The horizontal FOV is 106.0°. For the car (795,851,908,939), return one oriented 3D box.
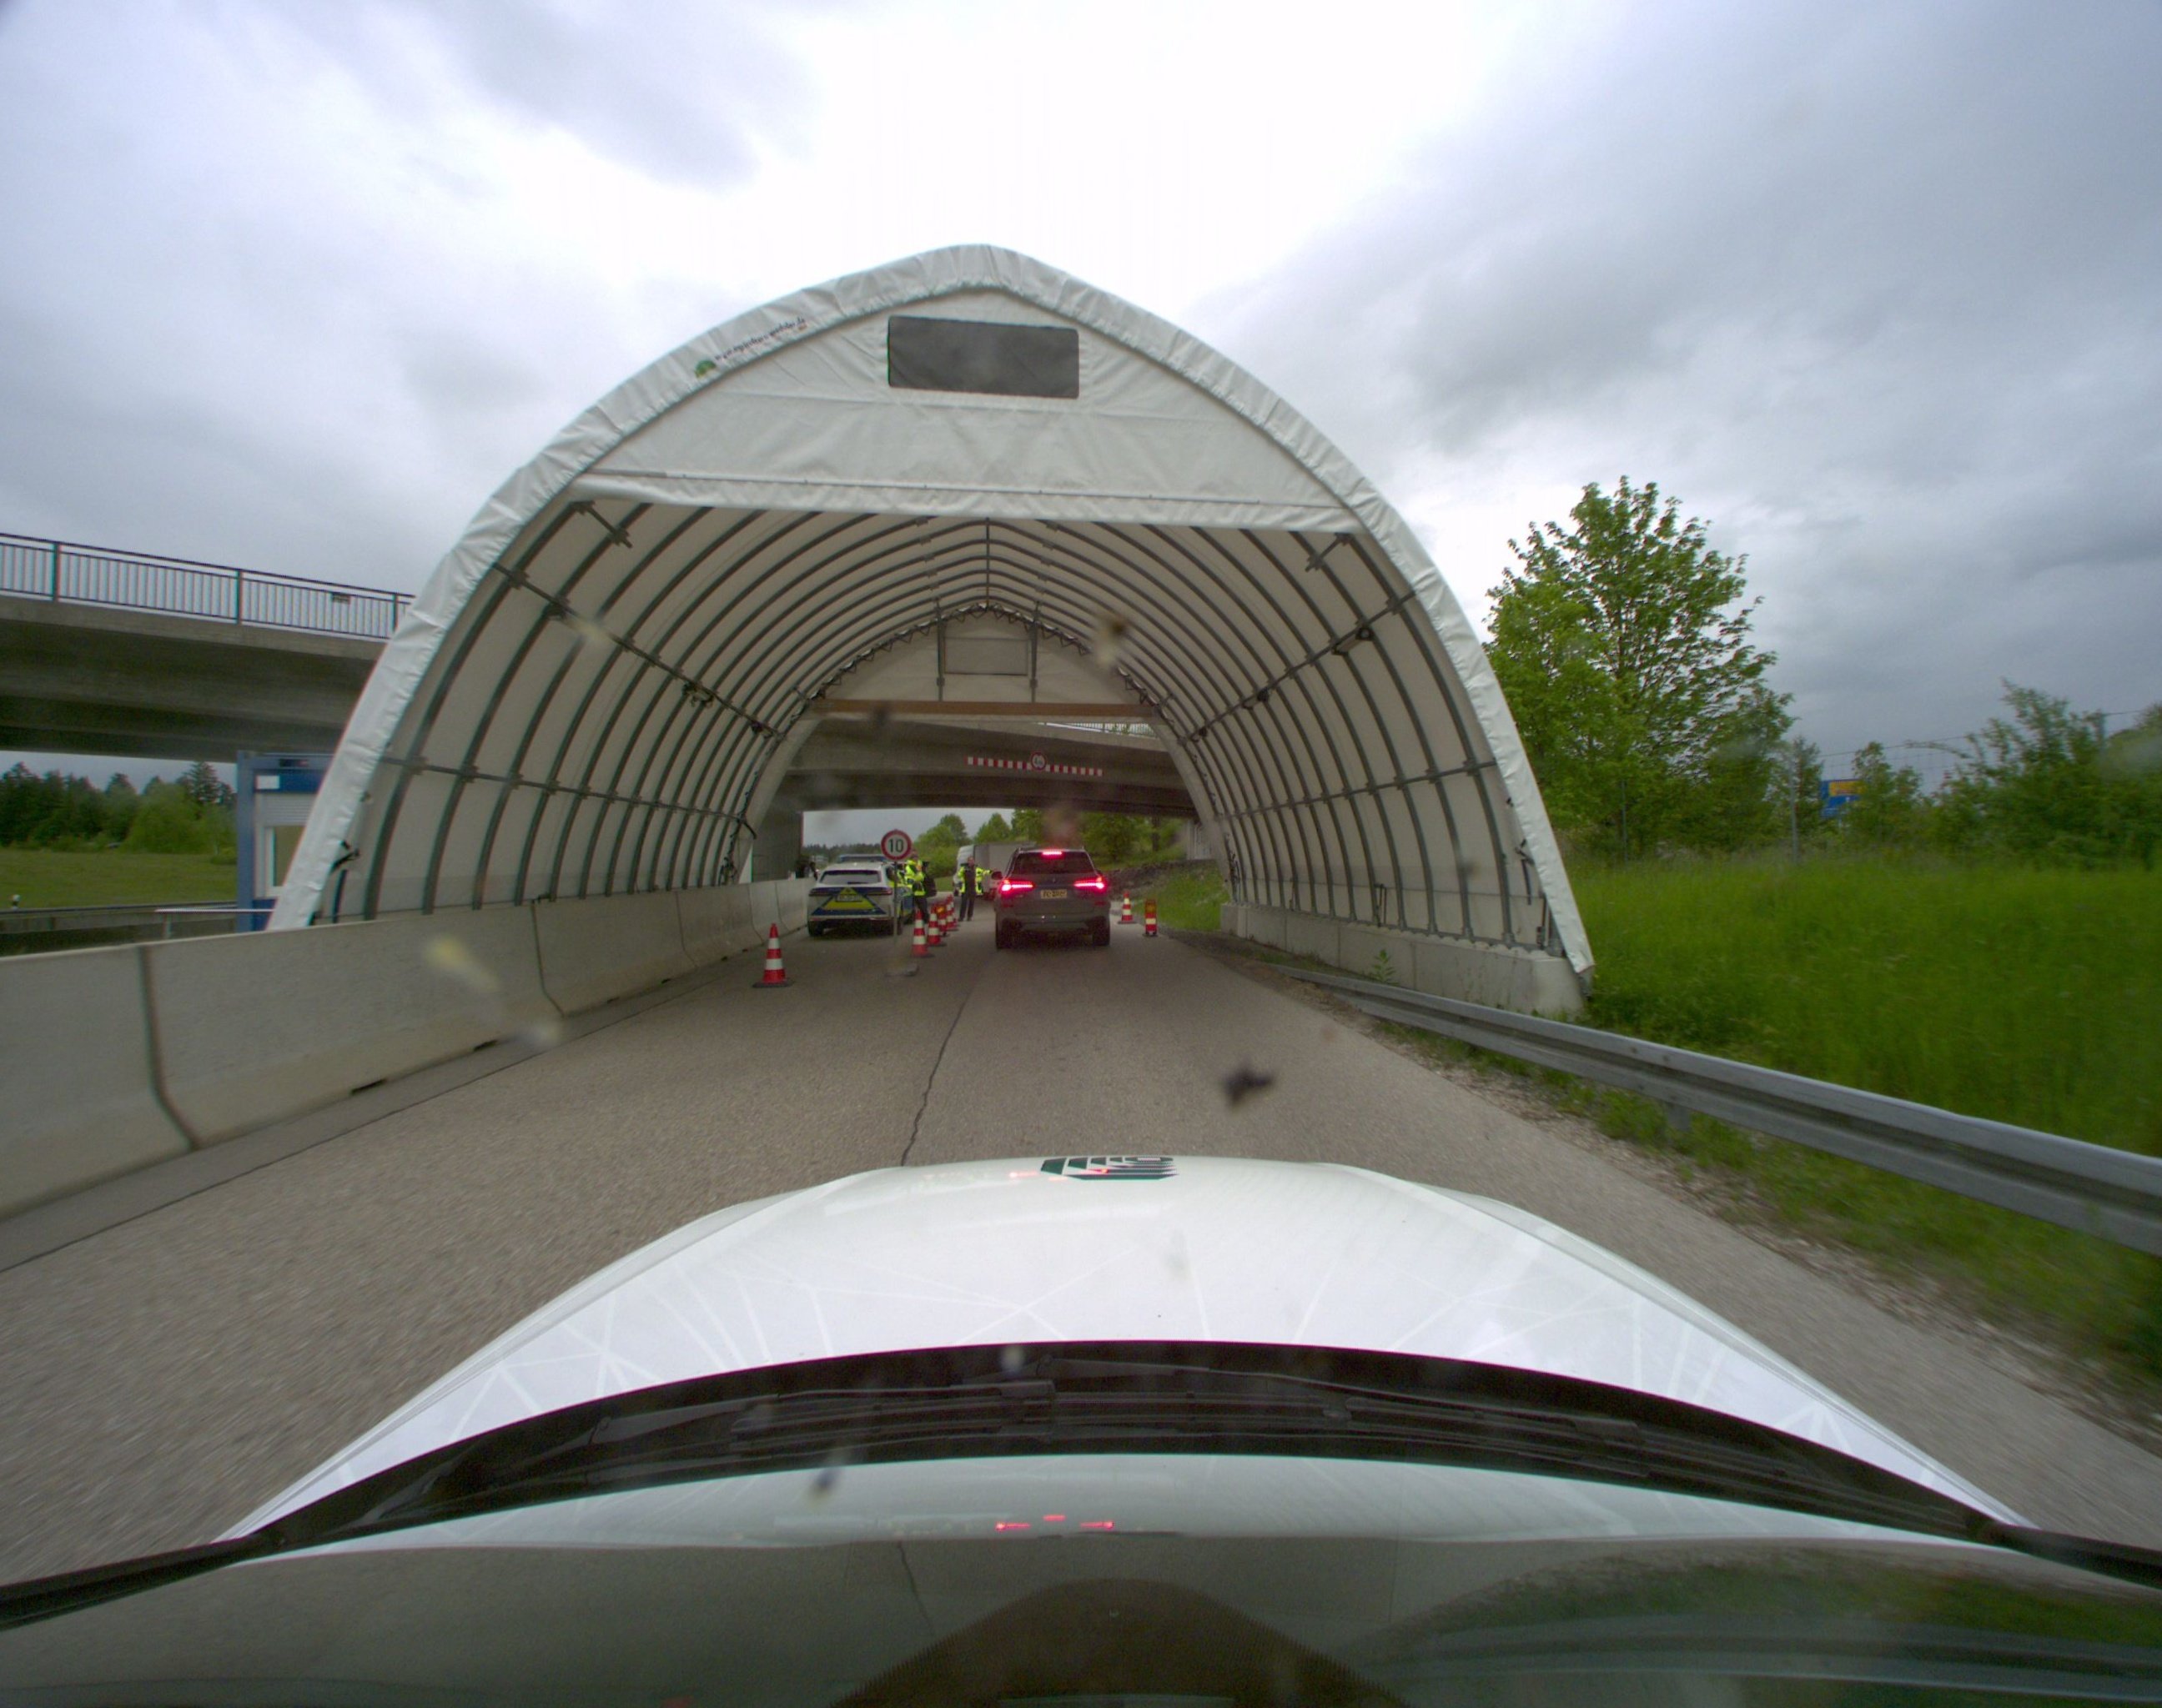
[{"bbox_3d":[-4.893,0.828,17.883,1.877,1.647,3.987,-2,-1,-9],"label":"car"}]

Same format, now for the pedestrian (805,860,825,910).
[{"bbox_3d":[-10.934,1.260,33.488,0.624,2.014,0.653,-1,-1,-11],"label":"pedestrian"}]

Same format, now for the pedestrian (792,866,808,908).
[{"bbox_3d":[-10.715,1.257,31.083,0.503,1.546,0.460,-1,-1,-15],"label":"pedestrian"}]

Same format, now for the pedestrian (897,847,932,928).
[{"bbox_3d":[-4.085,0.809,20.015,0.749,1.919,0.760,-2,-1,-10],"label":"pedestrian"}]

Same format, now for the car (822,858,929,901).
[{"bbox_3d":[-10.255,1.258,40.753,4.773,2.014,1.847,-2,-1,12],"label":"car"}]

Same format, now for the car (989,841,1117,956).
[{"bbox_3d":[-0.567,0.726,15.038,1.990,1.765,3.994,-2,-1,-4],"label":"car"}]

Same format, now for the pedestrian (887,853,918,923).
[{"bbox_3d":[-4.642,0.875,21.219,0.607,1.754,0.666,-2,-1,-1],"label":"pedestrian"}]

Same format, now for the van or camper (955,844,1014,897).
[{"bbox_3d":[-5.152,0.856,42.747,2.109,2.519,5.518,-1,-1,-17],"label":"van or camper"}]

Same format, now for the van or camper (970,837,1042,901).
[{"bbox_3d":[-3.514,0.657,36.899,2.233,2.552,6.578,-2,-1,-14],"label":"van or camper"}]

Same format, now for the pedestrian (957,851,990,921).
[{"bbox_3d":[-2.773,0.811,20.956,0.779,1.722,0.754,-2,-1,-8],"label":"pedestrian"}]
